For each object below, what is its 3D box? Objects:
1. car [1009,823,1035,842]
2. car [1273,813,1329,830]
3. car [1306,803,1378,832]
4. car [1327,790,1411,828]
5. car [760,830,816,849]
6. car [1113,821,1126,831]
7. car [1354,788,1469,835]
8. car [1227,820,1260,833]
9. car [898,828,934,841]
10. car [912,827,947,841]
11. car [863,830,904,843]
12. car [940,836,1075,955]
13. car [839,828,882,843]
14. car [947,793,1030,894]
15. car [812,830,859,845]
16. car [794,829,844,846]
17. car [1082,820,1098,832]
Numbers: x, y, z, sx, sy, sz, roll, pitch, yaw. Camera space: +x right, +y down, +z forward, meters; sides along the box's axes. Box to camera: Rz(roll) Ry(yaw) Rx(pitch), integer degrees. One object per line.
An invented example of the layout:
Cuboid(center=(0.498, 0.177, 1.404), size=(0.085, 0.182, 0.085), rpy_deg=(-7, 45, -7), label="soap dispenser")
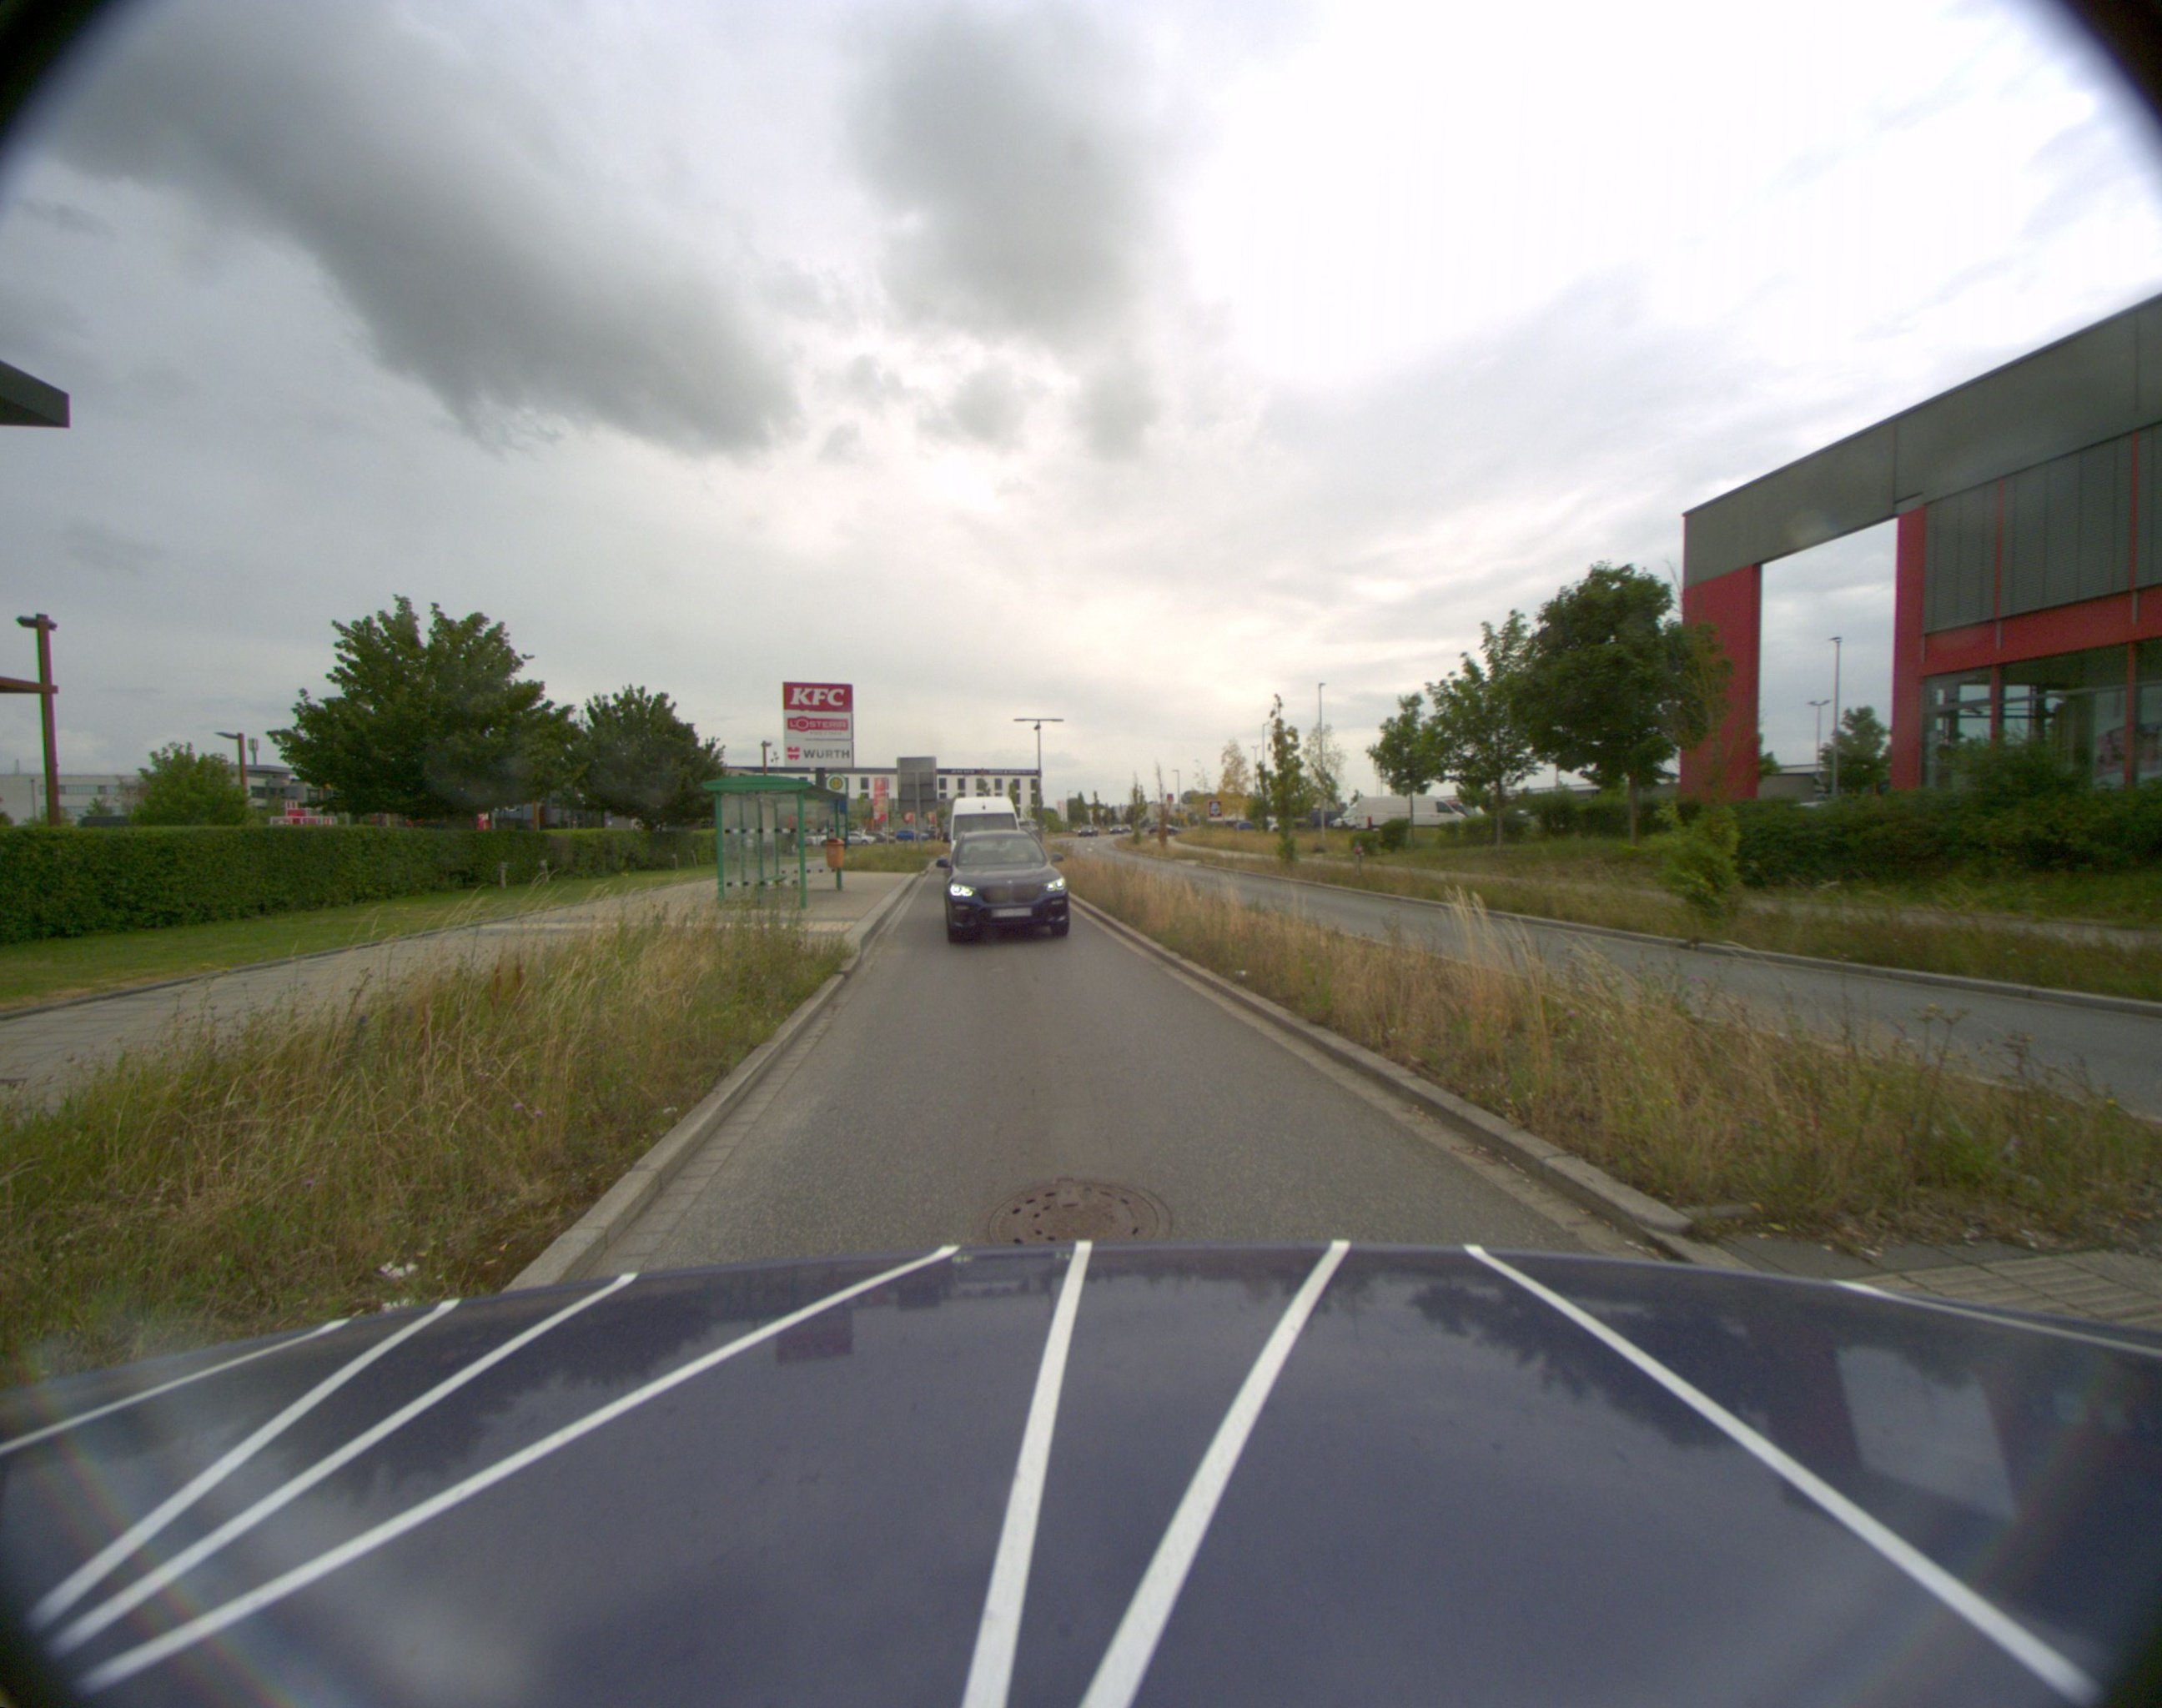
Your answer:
Cuboid(center=(-5.616, -2.099, 72.605), size=(1.998, 1.565, 3.998), rpy_deg=(-2, 3, 2), label="car")
Cuboid(center=(21.961, -3.252, 76.046), size=(5.053, 1.647, 2.064), rpy_deg=(-1, 2, 2), label="car")
Cuboid(center=(20.795, -2.897, 60.727), size=(5.054, 2.211, 2.063), rpy_deg=(-1, 2, -1), label="car")
Cuboid(center=(20.021, -3.141, 52.862), size=(5.057, 2.360, 2.062), rpy_deg=(-3, 3, -8), label="car")
Cuboid(center=(-24.840, -1.216, 64.522), size=(3.997, 1.478, 1.846), rpy_deg=(-1, 2, 0), label="car")
Cuboid(center=(6.455, -4.726, 127.376), size=(1.998, 1.565, 3.998), rpy_deg=(-2, 3, 2), label="car")
Cuboid(center=(20.771, -2.657, 47.925), size=(6.417, 2.610, 2.062), rpy_deg=(-3, 4, -4), label="car")
Cuboid(center=(20.720, -3.516, 97.134), size=(3.994, 1.504, 1.735), rpy_deg=(-1, 2, 8), label="car")
Cuboid(center=(-20.752, -2.442, 95.701), size=(3.994, 1.478, 1.847), rpy_deg=(-2, 3, 9), label="car")
Cuboid(center=(-19.493, -2.582, 98.039), size=(3.994, 1.478, 1.847), rpy_deg=(-2, 3, 9), label="car")
Cuboid(center=(-22.393, -1.987, 86.168), size=(3.996, 1.478, 1.847), rpy_deg=(-1, 2, 4), label="car")
Cuboid(center=(-1.340, 0.531, 12.742), size=(1.869, 1.599, 3.995), rpy_deg=(-1, 2, -9), label="car")
Cuboid(center=(-23.552, -1.976, 81.251), size=(3.996, 1.478, 1.847), rpy_deg=(-1, 2, 4), label="car")
Cuboid(center=(-2.814, -0.371, 22.281), size=(2.027, 2.514, 6.097), rpy_deg=(-1, 2, -9), label="car")
Cuboid(center=(-24.704, -1.680, 76.541), size=(3.997, 1.478, 1.846), rpy_deg=(-1, 2, -1), label="car")
Cuboid(center=(-24.518, -1.549, 71.233), size=(3.997, 1.514, 1.846), rpy_deg=(-1, 2, 0), label="car")
Cuboid(center=(1.228, -3.874, 104.543), size=(1.998, 1.565, 3.998), rpy_deg=(-2, 3, 2), label="car")
